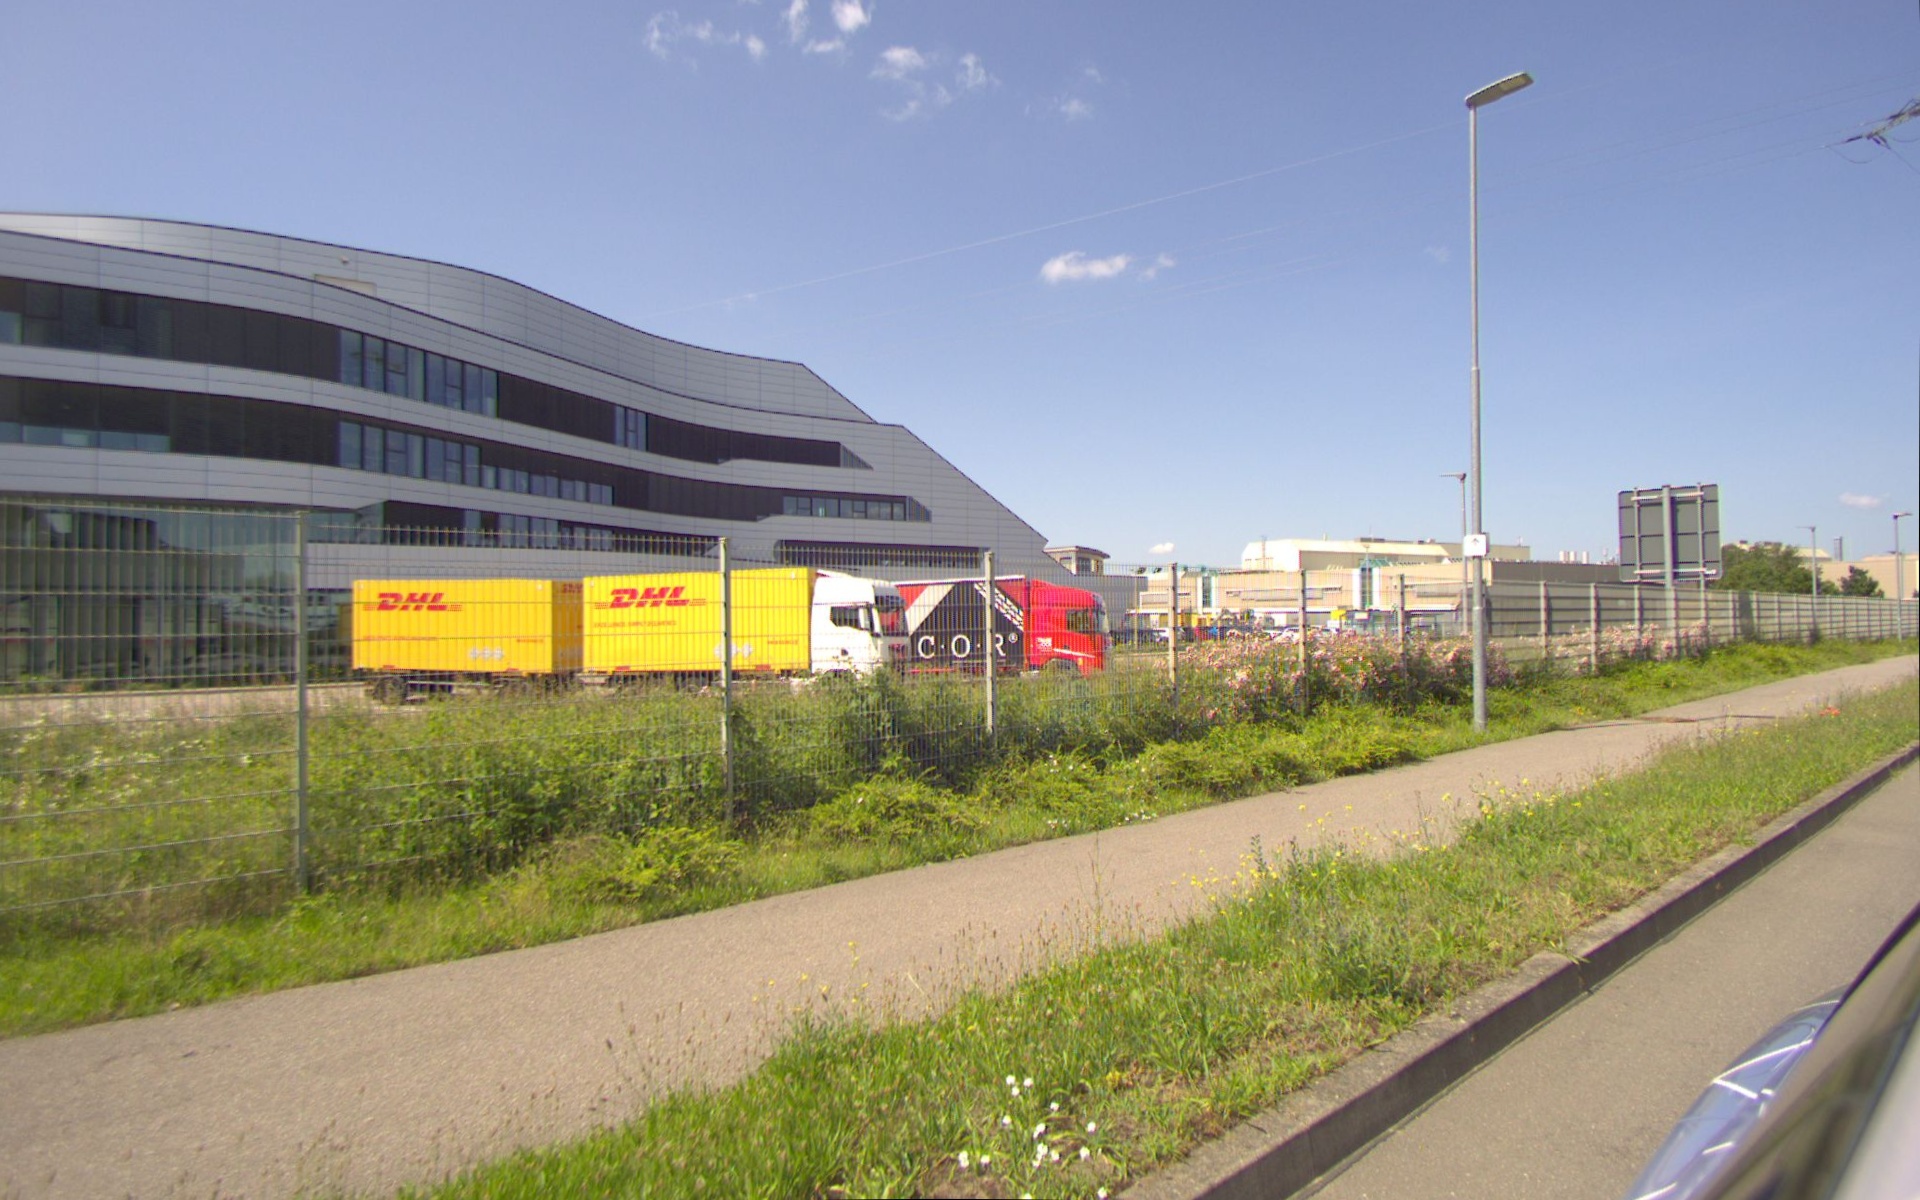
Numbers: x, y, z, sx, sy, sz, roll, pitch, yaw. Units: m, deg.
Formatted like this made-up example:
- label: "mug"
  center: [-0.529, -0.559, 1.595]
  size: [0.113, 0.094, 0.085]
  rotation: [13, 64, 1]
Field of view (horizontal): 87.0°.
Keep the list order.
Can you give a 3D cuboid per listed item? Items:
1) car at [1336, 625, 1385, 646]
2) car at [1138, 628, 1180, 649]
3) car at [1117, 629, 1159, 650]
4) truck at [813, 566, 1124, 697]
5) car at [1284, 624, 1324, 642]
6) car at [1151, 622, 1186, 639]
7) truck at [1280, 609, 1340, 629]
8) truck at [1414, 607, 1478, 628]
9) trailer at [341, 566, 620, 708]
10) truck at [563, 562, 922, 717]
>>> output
- label: "car"
  center: [30.352, 2.669, 76.777]
  size: [1.427, 1.554, 3.152]
  rotation: [0, -1, -34]
- label: "car"
  center: [15.479, 2.971, 78.789]
  size: [1.443, 1.554, 3.057]
  rotation: [0, -1, -33]
- label: "car"
  center: [13.558, 2.993, 77.285]
  size: [1.443, 1.554, 3.057]
  rotation: [0, -1, -33]
- label: "truck"
  center: [0.260, 1.029, 36.467]
  size: [10.828, 4.310, 3.011]
  rotation: [0, 0, 18]
- label: "car"
  center: [30.539, 2.951, 89.852]
  size: [1.443, 1.554, 3.057]
  rotation: [0, -1, -33]
- label: "car"
  center: [19.415, 2.822, 94.232]
  size: [1.443, 1.554, 3.057]
  rotation: [0, -1, -33]
- label: "truck"
  center: [57.503, 3.098, 166.159]
  size: [11.612, 3.178, 2.002]
  rotation: [0, -2, -29]
- label: "truck"
  center: [71.456, 2.582, 148.558]
  size: [11.612, 3.000, 2.002]
  rotation: [0, -2, -29]
- label: "trailer"
  center: [-15.875, 1.135, 33.594]
  size: [8.589, 4.350, 2.888]
  rotation: [0, 0, 15]
- label: "truck"
  center: [-6.687, 1.061, 30.755]
  size: [10.831, 4.225, 2.805]
  rotation: [0, 0, 19]
